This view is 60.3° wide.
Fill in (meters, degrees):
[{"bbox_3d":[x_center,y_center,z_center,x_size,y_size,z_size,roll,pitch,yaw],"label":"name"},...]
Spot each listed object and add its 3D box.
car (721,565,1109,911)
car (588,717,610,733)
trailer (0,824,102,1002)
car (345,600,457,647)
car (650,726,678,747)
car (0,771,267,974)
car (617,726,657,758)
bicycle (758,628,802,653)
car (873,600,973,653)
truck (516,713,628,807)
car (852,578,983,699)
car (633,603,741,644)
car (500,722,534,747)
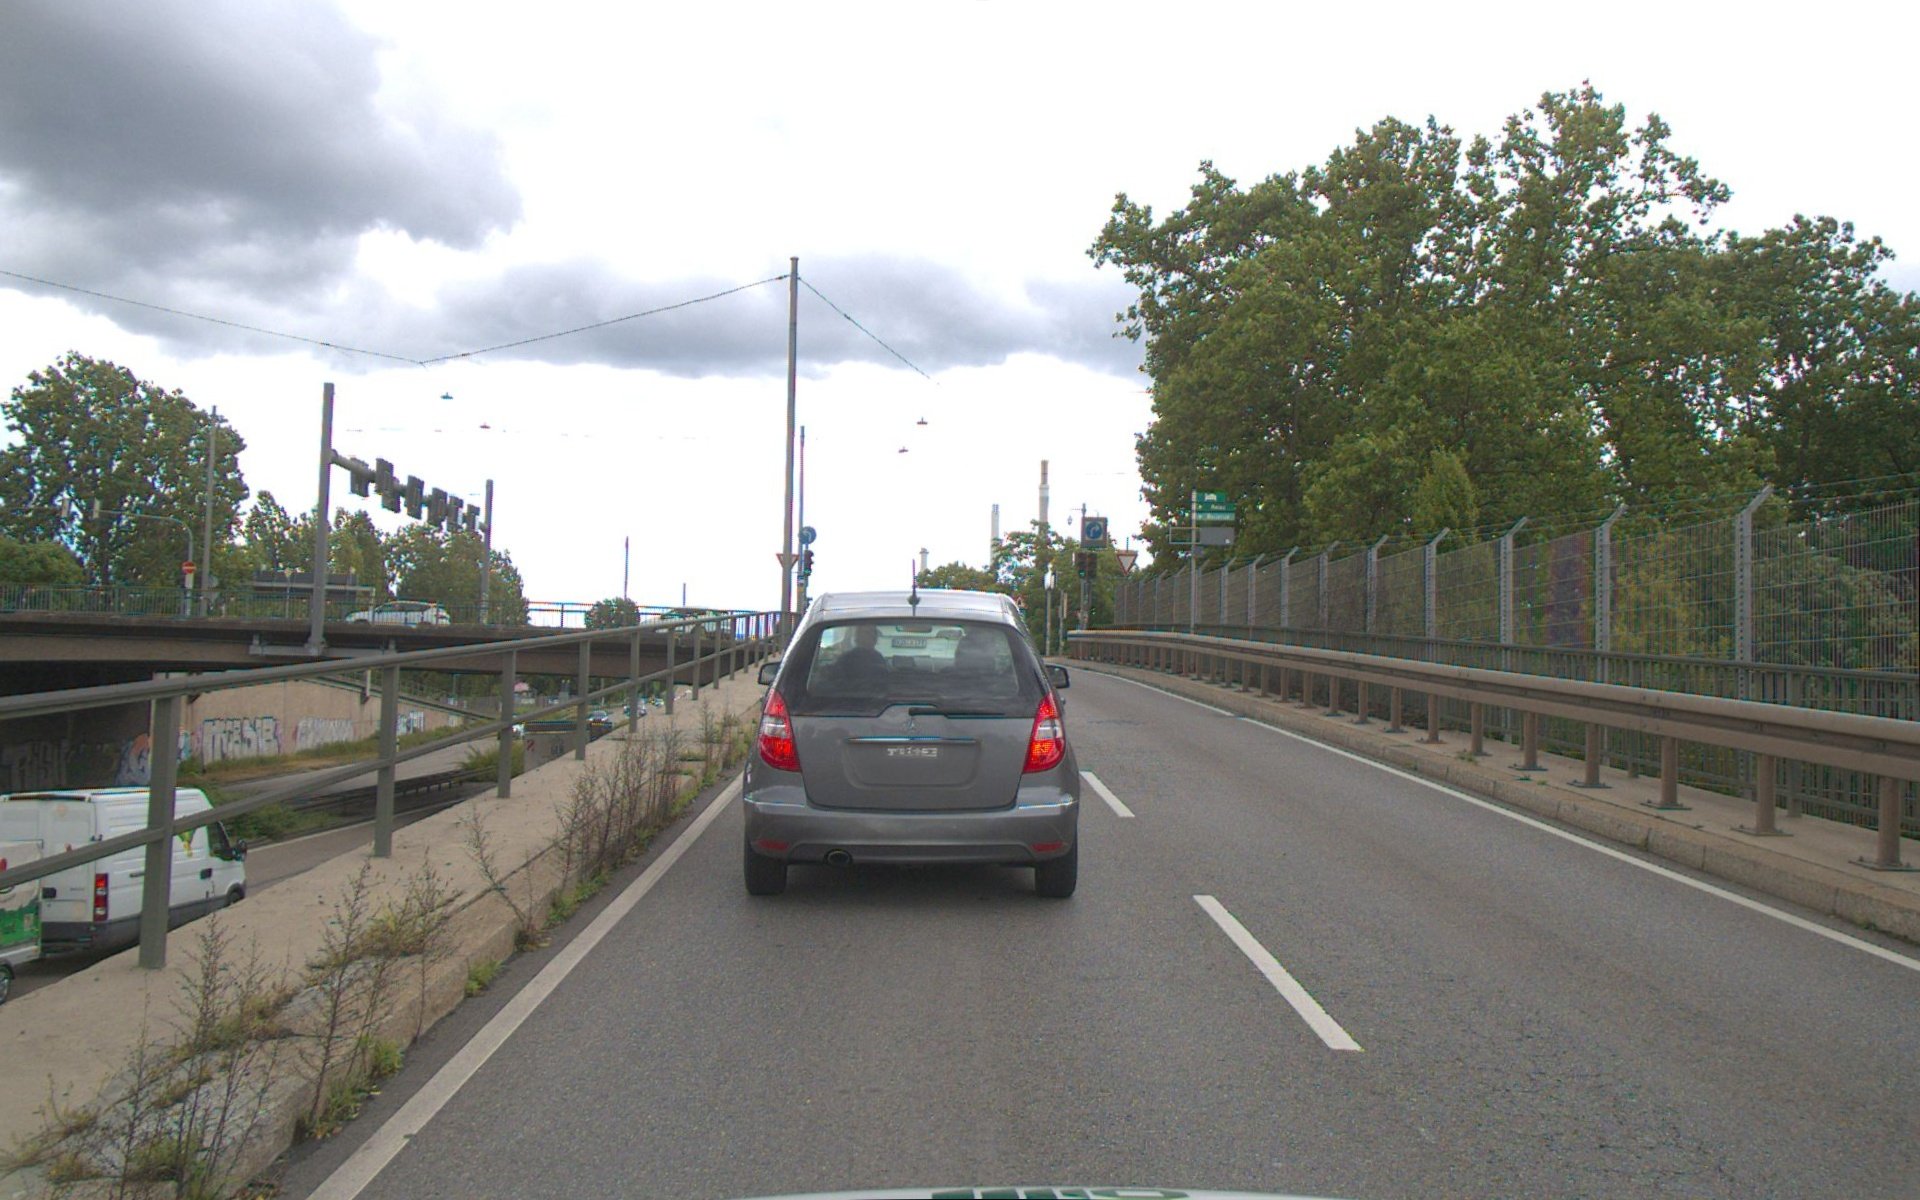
[{"bbox_3d":[-0.241,0.658,9.867,1.820,1.616,3.999,1,0,-1],"label":"car"},{"bbox_3d":[-41.799,14.465,191.483,1.877,1.769,4.548,0,-3,-4],"label":"car"},{"bbox_3d":[-13.711,4.329,22.770,1.694,2.167,3.934,1,-4,-1],"label":"trailer"},{"bbox_3d":[-23.773,1.005,70.452,4.117,1.903,1.998,1,0,-5],"label":"car"},{"bbox_3d":[-24.610,11.339,137.471,1.861,1.650,4.174,1,-3,-4],"label":"car"},{"bbox_3d":[-13.758,4.341,27.481,1.953,2.732,5.930,1,-4,-1],"label":"car"},{"bbox_3d":[-22.324,9.814,114.518,1.860,2.038,4.956,1,-3,-1],"label":"car"},{"bbox_3d":[-8.592,1.930,79.035,1.998,1.144,0.926,1,-1,-14],"label":"bicycle"},{"bbox_3d":[-1.302,0.878,56.794,1.908,1.747,3.965,1,0,-27],"label":"car"},{"bbox_3d":[-15.279,6.252,65.645,2.690,3.351,7.438,1,-3,-1],"label":"truck"},{"bbox_3d":[-0.723,0.571,26.483,1.892,1.747,4.403,1,0,-3],"label":"car"},{"bbox_3d":[-11.397,0.959,69.032,4.252,1.604,1.835,1,-1,31],"label":"car"},{"bbox_3d":[-38.950,11.811,145.520,1.954,2.103,5.171,1,-3,-5],"label":"car"}]
